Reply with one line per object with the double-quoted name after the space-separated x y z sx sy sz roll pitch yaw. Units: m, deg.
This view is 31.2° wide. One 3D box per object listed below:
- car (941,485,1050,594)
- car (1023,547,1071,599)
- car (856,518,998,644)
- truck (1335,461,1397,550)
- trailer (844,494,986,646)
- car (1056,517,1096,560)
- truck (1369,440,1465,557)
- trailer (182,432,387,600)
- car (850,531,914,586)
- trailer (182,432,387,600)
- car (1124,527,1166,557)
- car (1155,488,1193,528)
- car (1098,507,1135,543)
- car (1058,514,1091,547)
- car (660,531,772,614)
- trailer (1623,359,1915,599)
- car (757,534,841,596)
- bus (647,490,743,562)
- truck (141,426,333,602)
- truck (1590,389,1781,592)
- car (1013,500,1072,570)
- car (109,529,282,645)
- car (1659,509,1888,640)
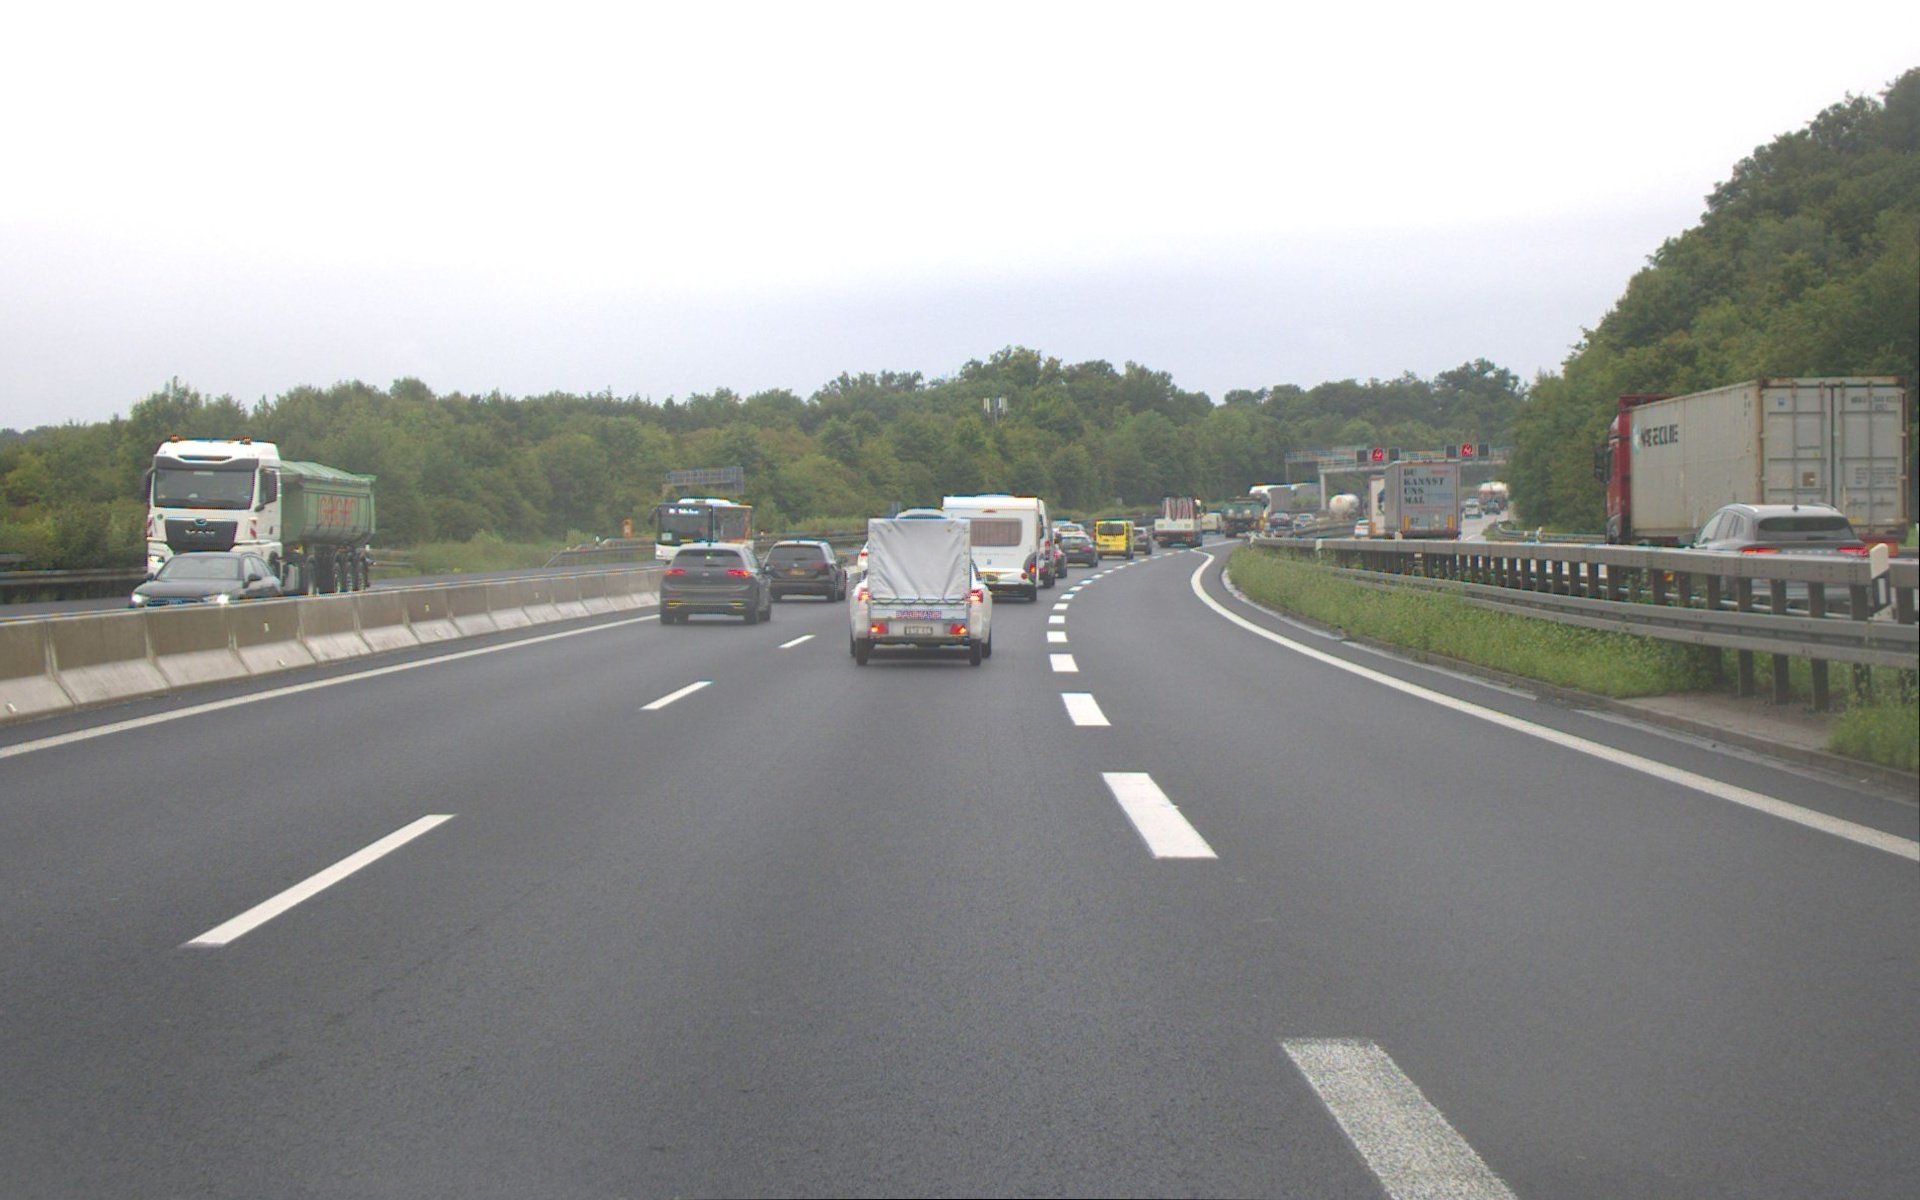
0.915 -1.487 84.788 2.507 2.576 5.699 0 1 2 "car"
3.077 -0.970 122.198 1.676 1.806 4.000 0 1 1 "car"
-0.398 -0.276 46.508 1.818 1.610 4.778 0 1 1 "car"
22.137 -5.058 187.384 3.216 4.650 13.029 0 1 7 "truck"
-0.523 -0.386 42.983 1.676 1.806 4.000 0 1 1 "trailer"
4.984 -2.636 147.771 1.676 1.806 4.000 0 1 1 "car"
19.050 -4.161 143.958 3.216 4.650 13.031 0 1 4 "truck"
-15.914 -1.944 81.651 2.903 3.736 8.928 0 1 1 "trailer"
-2.352 -1.254 104.418 1.775 1.634 4.043 0 1 1 "car"
-15.914 -1.944 81.651 2.903 3.736 8.928 0 1 1 "trailer"
10.599 -3.329 196.687 2.038 1.677 3.999 0 1 9 "car"
14.239 -6.099 228.833 2.516 2.566 5.311 0 1 4 "car"
8.065 -3.860 177.318 1.676 1.806 3.999 0 1 6 "car"
7.109 -4.301 213.373 1.993 2.007 4.000 0 1 2 "car"
-4.394 -0.515 62.312 1.676 1.451 4.000 0 1 1 "car"
14.337 -2.053 62.062 2.604 3.881 12.490 0 1 1 "trailer"
-3.826 -0.845 82.294 1.765 1.451 4.000 0 1 1 "car"
-11.774 -3.264 153.814 2.698 2.948 11.897 -3 1 3 "bus"
-15.992 -1.873 76.418 2.887 3.736 5.945 0 1 1 "truck"
14.503 -2.149 69.111 2.616 3.871 6.392 0 1 1 "truck"
2.514 -1.953 103.757 1.676 2.060 4.000 0 1 3 "car"
-12.903 -0.246 58.271 1.895 1.869 4.542 0 1 0 "car"
10.517 -0.349 44.786 1.769 1.604 4.644 0 1 -1 "car"
